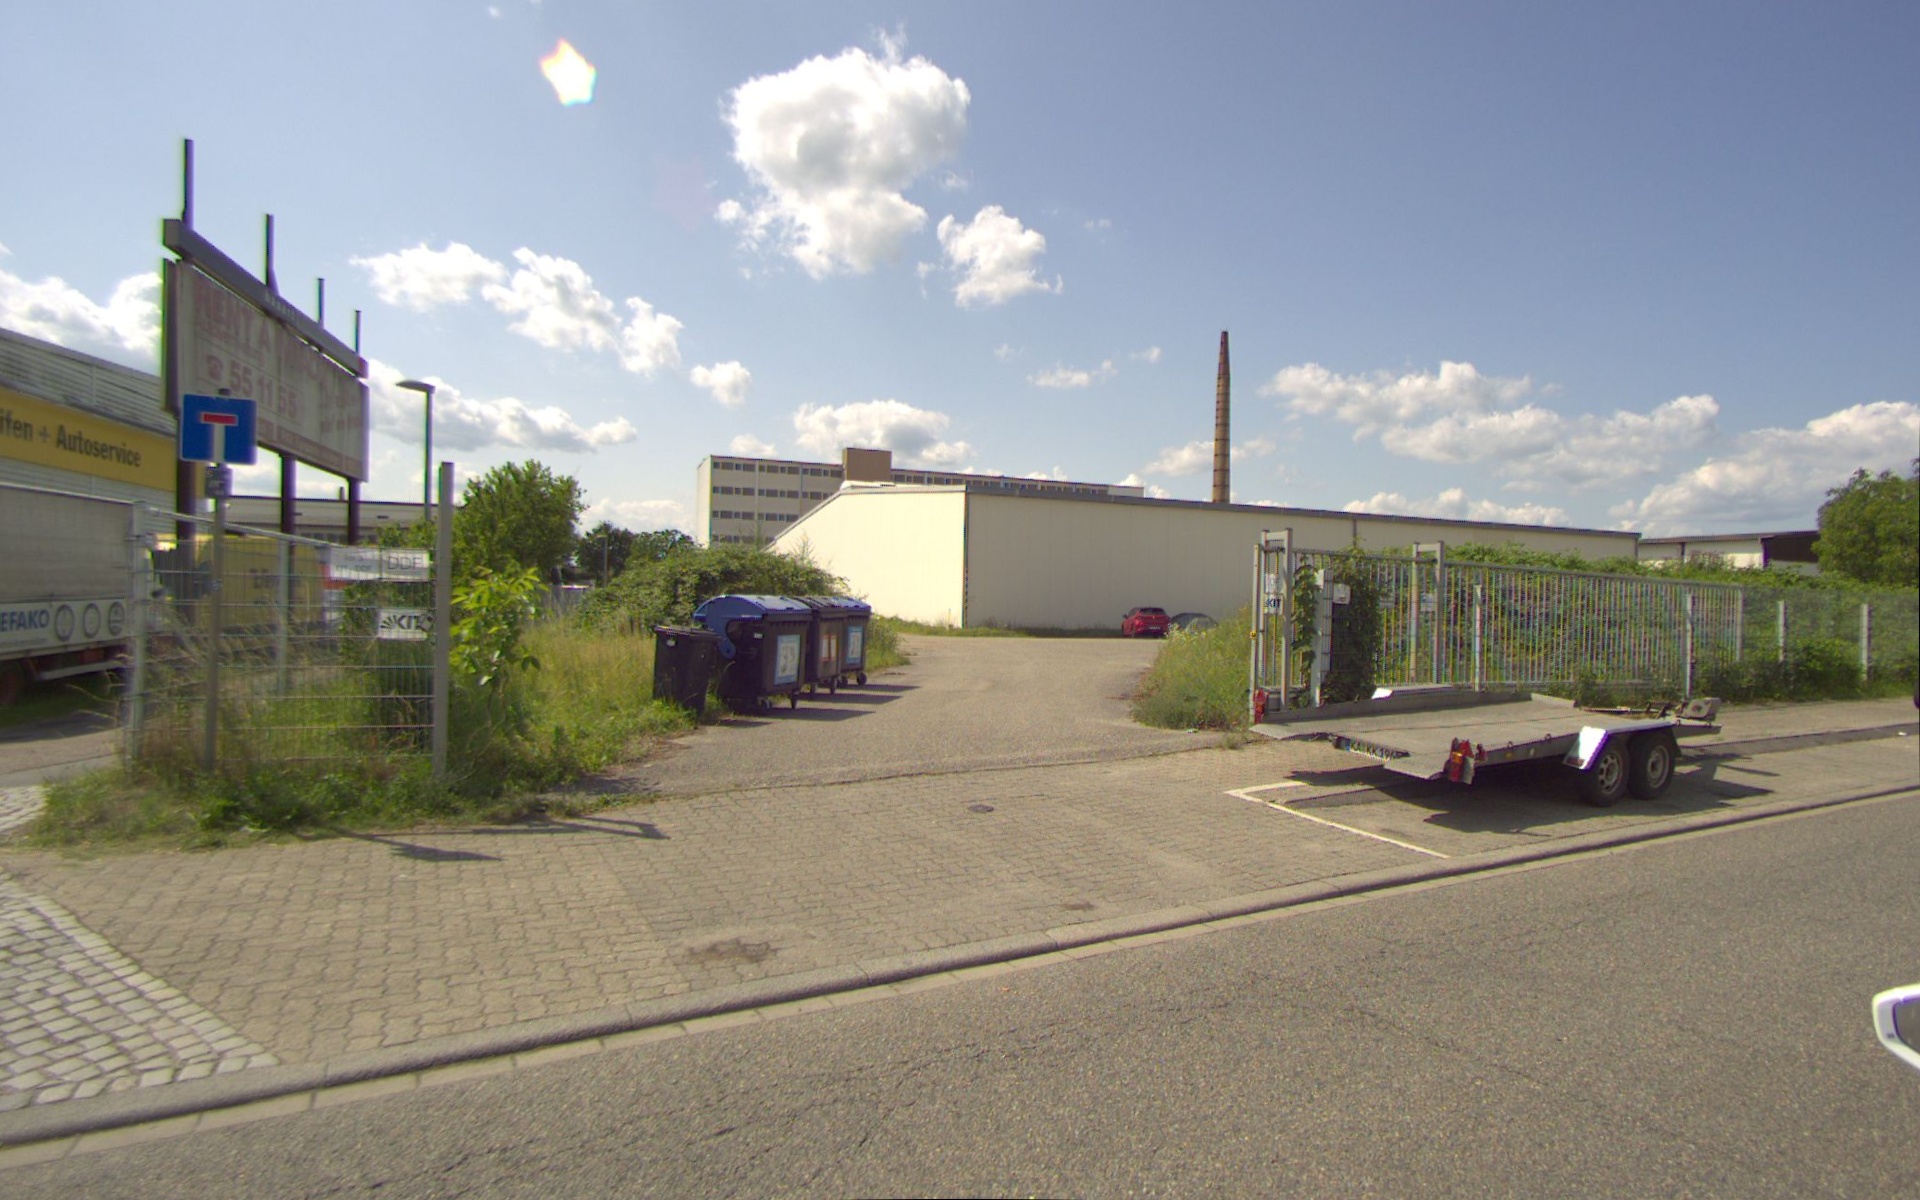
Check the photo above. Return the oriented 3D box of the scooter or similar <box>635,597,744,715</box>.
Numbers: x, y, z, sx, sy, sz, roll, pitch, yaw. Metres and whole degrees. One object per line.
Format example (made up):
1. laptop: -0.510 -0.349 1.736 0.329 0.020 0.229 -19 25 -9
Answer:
1. scooter or similar: -3.145 0.628 11.737 0.864 1.292 0.898 1 0 17

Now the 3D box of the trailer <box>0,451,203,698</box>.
1. trailer: -13.219 -0.341 13.550 2.715 2.890 6.512 1 0 -18

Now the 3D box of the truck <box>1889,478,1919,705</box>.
1. truck: 17.889 0.063 16.120 6.826 3.407 2.239 2 4 -31

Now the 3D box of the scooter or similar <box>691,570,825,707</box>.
1. scooter or similar: -2.539 0.458 12.781 1.147 1.608 1.320 1 0 17

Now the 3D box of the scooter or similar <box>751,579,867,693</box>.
1. scooter or similar: -2.178 0.495 14.698 1.147 1.558 1.450 1 0 17

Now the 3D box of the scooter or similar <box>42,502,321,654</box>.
1. scooter or similar: -15.277 -0.377 20.226 1.963 2.589 5.476 1 0 -8

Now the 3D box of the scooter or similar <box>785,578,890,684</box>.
1. scooter or similar: -1.977 0.480 16.462 1.147 1.608 1.586 1 0 17

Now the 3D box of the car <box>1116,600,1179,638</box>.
1. car: 8.435 0.823 45.505 1.961 1.554 3.999 1 0 -2

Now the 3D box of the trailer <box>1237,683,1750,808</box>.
1. trailer: 4.945 1.209 9.236 4.393 0.559 2.224 1 1 -31
